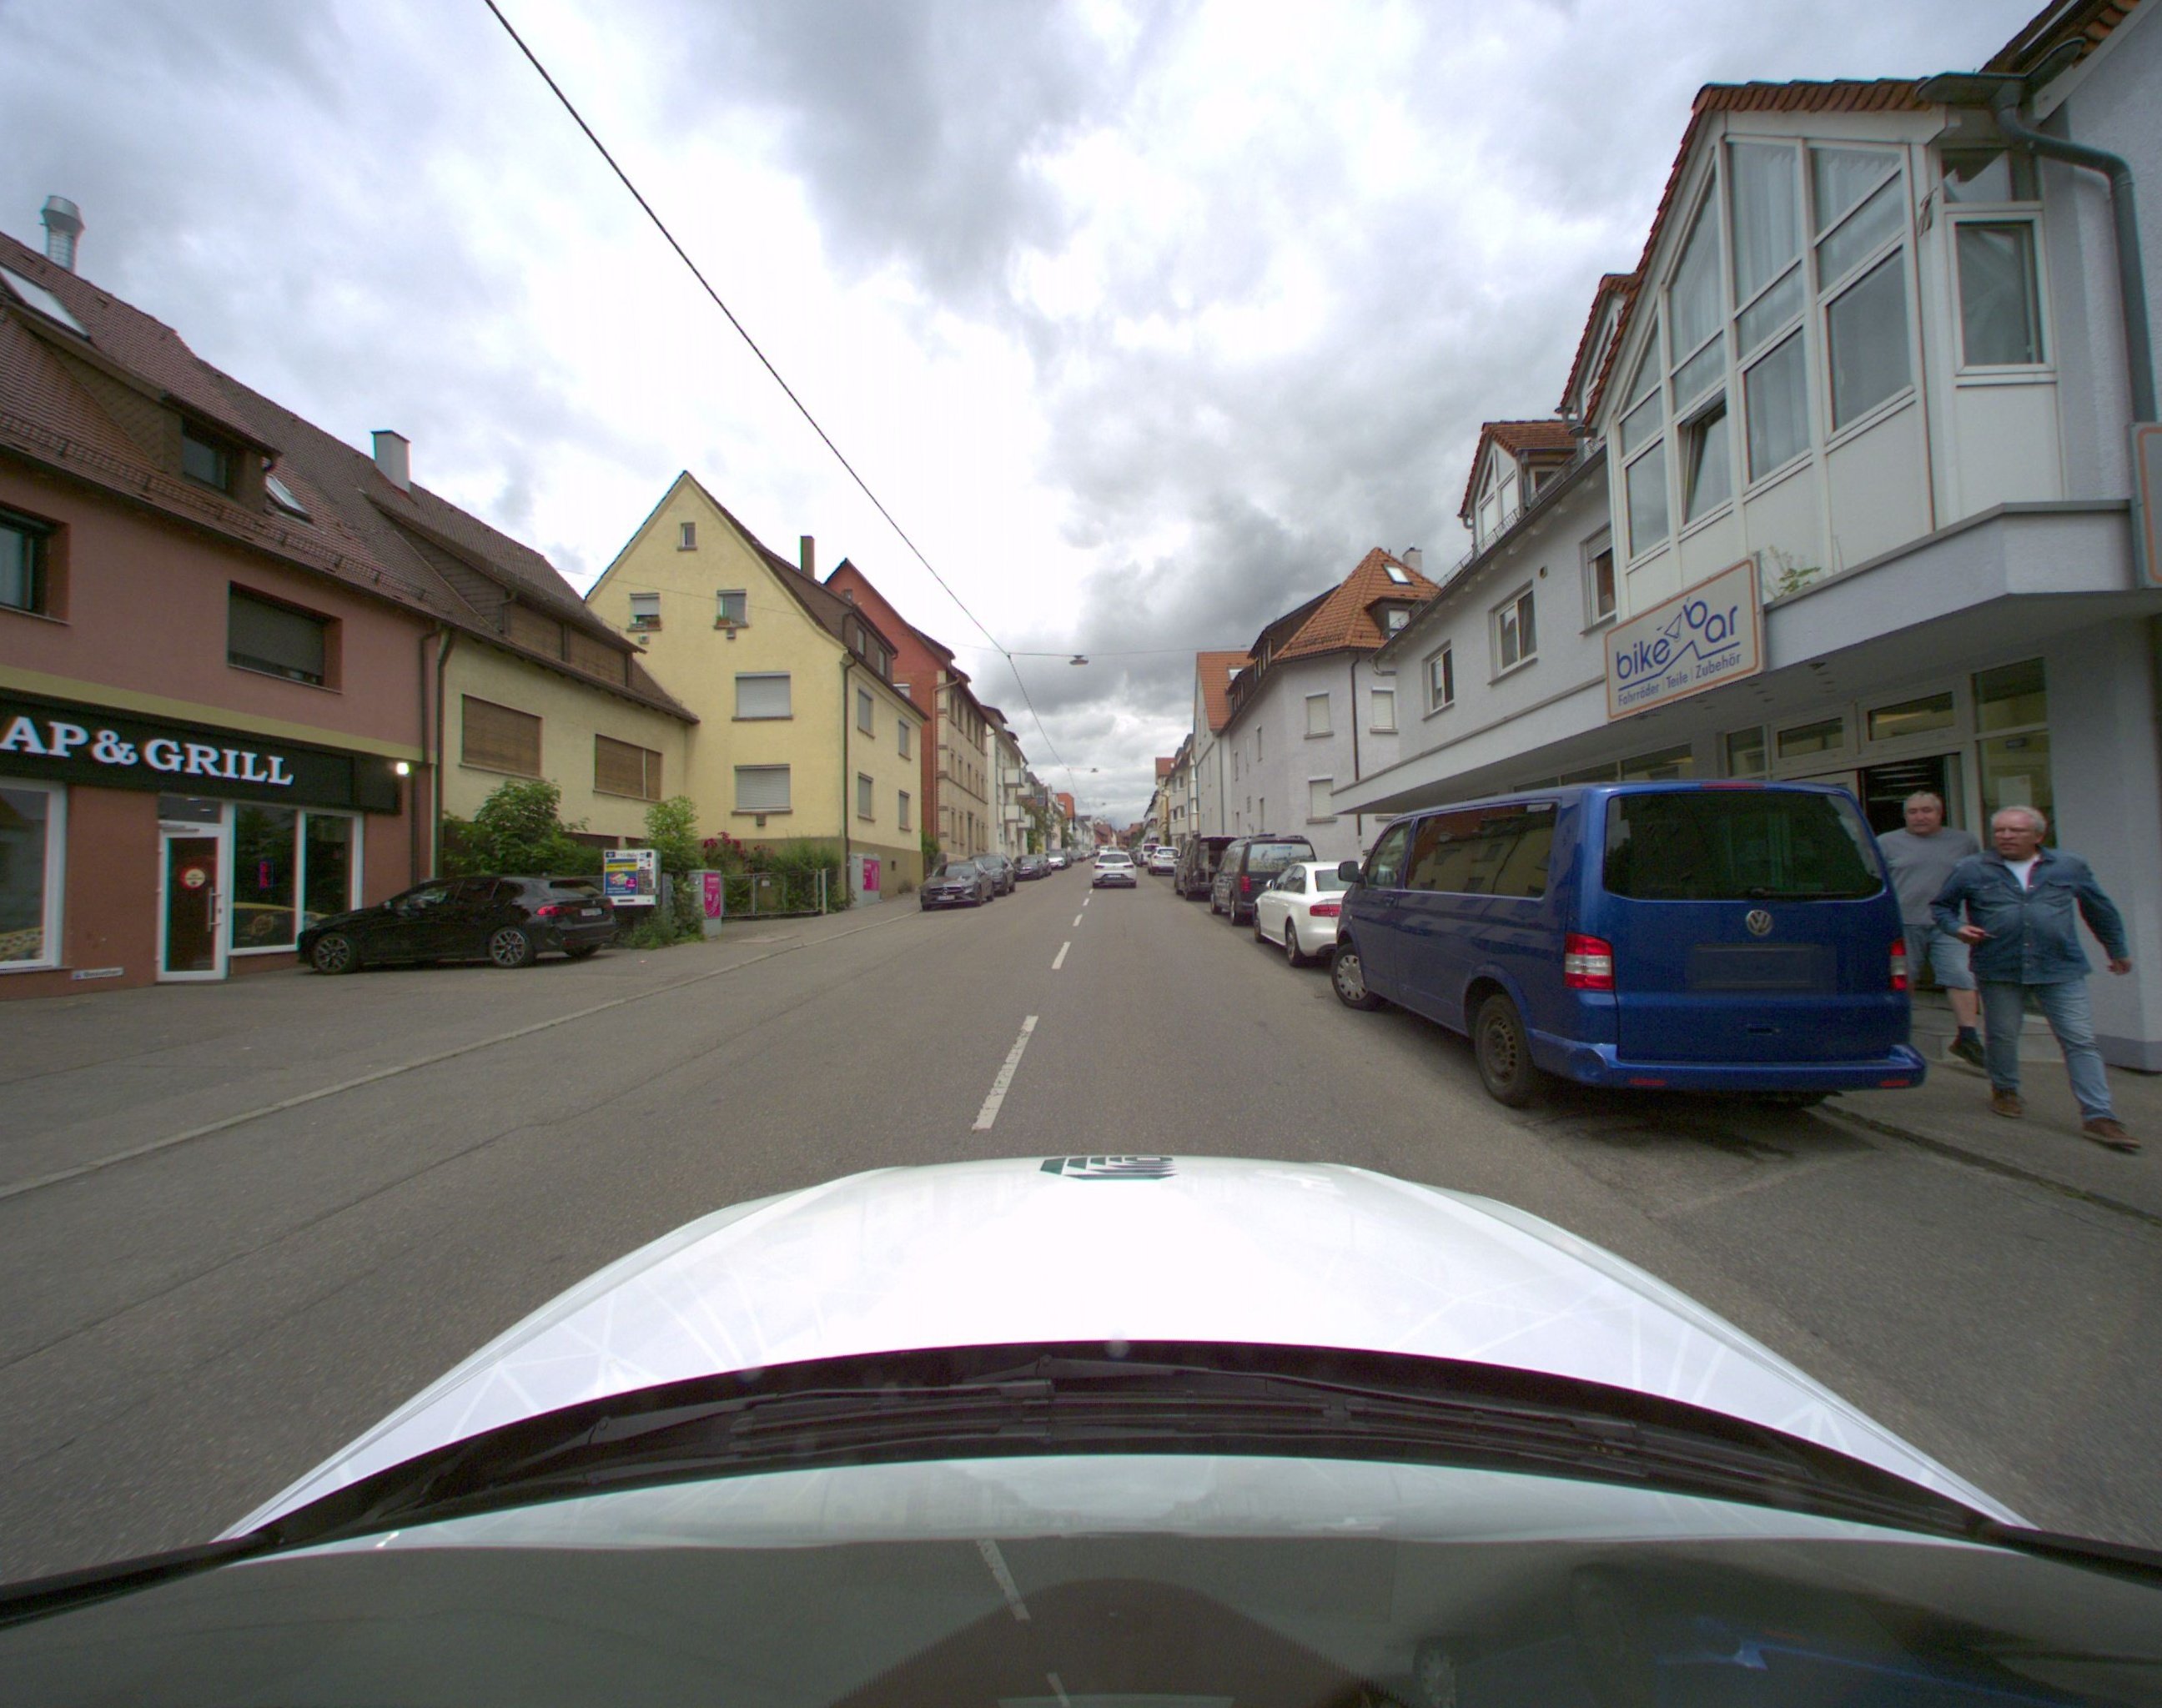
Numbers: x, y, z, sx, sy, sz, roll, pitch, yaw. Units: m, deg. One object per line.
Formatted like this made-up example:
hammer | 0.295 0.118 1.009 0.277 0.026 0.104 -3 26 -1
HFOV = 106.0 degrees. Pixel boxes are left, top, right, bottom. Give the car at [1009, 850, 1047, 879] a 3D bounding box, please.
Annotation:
car | -3.017 0.563 47.073 1.636 1.473 4.181 -4 1 2

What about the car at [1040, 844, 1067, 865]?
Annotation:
car | -2.261 -0.010 67.775 1.986 1.651 4.002 -1 1 2

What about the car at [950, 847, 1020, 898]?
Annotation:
car | -3.643 0.650 31.718 1.986 1.650 4.555 -4 1 1

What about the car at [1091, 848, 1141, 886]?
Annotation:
car | 1.414 0.493 33.306 1.933 1.439 4.002 -1 1 2

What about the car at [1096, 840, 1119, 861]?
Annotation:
car | 2.579 -0.361 79.864 2.145 2.013 4.001 0 0 1

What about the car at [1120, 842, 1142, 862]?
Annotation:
car | 5.363 -0.250 87.340 1.988 2.013 3.999 -2 1 -1

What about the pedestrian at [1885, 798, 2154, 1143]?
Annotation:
pedestrian | 5.195 0.582 4.581 0.862 1.725 0.623 -1 0 37

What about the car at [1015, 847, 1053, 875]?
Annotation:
car | -2.928 0.427 51.921 1.986 1.651 4.002 -1 1 2

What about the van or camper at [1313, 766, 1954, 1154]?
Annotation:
van or camper | 3.444 0.504 6.475 1.919 1.925 4.832 0 1 1

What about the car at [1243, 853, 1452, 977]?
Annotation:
car | 3.676 0.735 12.144 1.708 1.435 4.641 0 1 1

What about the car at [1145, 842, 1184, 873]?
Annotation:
car | 4.904 0.168 48.289 1.934 1.693 4.001 1 1 1

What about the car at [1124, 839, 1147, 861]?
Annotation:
car | 5.400 -0.401 81.014 1.988 2.013 3.999 -2 1 -1

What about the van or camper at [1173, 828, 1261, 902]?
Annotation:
van or camper | 4.152 0.274 25.844 1.986 2.065 5.947 0 1 2

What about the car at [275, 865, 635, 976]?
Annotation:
car | -9.805 1.007 13.011 4.212 1.472 2.001 -2 -2 2

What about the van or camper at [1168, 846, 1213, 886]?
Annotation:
van or camper | 4.599 0.456 34.670 1.595 1.543 4.004 1 1 3

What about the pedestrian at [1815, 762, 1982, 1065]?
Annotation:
pedestrian | 5.860 0.397 5.886 0.752 2.013 0.623 -1 0 37

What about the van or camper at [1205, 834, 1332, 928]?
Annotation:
van or camper | 4.036 0.504 18.329 1.864 1.828 4.682 1 1 1

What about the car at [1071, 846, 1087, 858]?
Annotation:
car | -0.280 -0.310 111.476 1.986 1.651 4.181 -1 1 2

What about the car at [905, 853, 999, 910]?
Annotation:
car | -3.995 0.798 25.998 1.985 1.472 4.247 -4 1 3

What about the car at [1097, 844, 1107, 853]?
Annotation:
car | 4.741 -1.215 182.522 1.986 2.013 4.003 -2 1 2

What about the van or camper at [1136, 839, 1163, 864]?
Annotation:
van or camper | 5.900 -0.217 70.380 1.934 2.054 4.562 -1 1 0
